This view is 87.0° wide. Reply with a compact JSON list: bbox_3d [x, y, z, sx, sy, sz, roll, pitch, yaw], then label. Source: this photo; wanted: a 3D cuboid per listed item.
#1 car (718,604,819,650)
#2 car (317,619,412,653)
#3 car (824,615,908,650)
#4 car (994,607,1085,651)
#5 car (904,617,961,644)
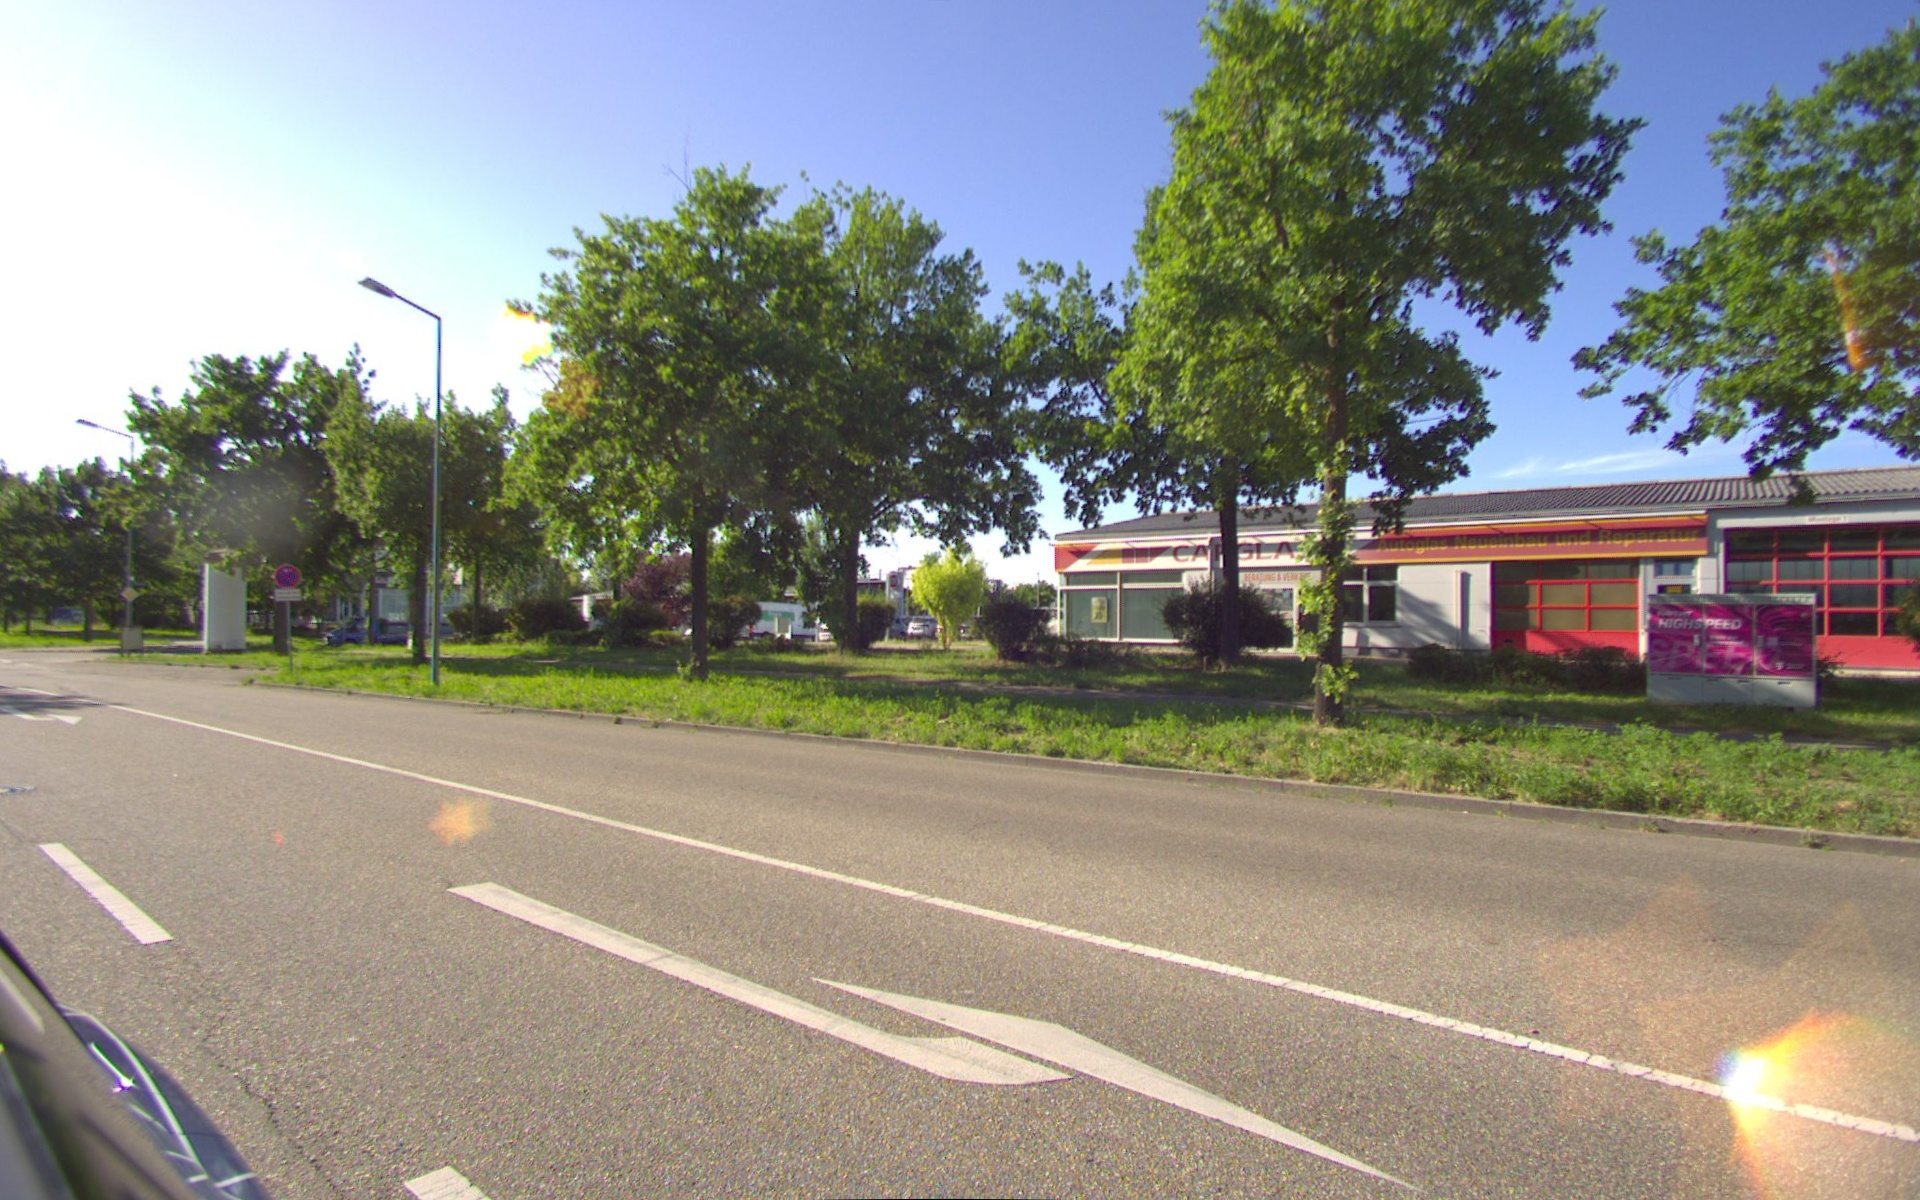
[{"bbox_3d":[-11.444,1.583,61.004,2.406,2.574,5.952,-1,0,36],"label":"car"},{"bbox_3d":[-35.963,2.144,61.239,1.999,1.847,4.578,-1,0,41],"label":"car"},{"bbox_3d":[-5.138,1.753,55.792,1.989,1.795,4.583,-1,0,40],"label":"car"},{"bbox_3d":[3.219,1.143,40.607,1.734,1.583,3.769,-3,-1,40],"label":"car"},{"bbox_3d":[-1.863,2.033,68.626,1.761,1.684,3.811,-1,0,40],"label":"car"}]
